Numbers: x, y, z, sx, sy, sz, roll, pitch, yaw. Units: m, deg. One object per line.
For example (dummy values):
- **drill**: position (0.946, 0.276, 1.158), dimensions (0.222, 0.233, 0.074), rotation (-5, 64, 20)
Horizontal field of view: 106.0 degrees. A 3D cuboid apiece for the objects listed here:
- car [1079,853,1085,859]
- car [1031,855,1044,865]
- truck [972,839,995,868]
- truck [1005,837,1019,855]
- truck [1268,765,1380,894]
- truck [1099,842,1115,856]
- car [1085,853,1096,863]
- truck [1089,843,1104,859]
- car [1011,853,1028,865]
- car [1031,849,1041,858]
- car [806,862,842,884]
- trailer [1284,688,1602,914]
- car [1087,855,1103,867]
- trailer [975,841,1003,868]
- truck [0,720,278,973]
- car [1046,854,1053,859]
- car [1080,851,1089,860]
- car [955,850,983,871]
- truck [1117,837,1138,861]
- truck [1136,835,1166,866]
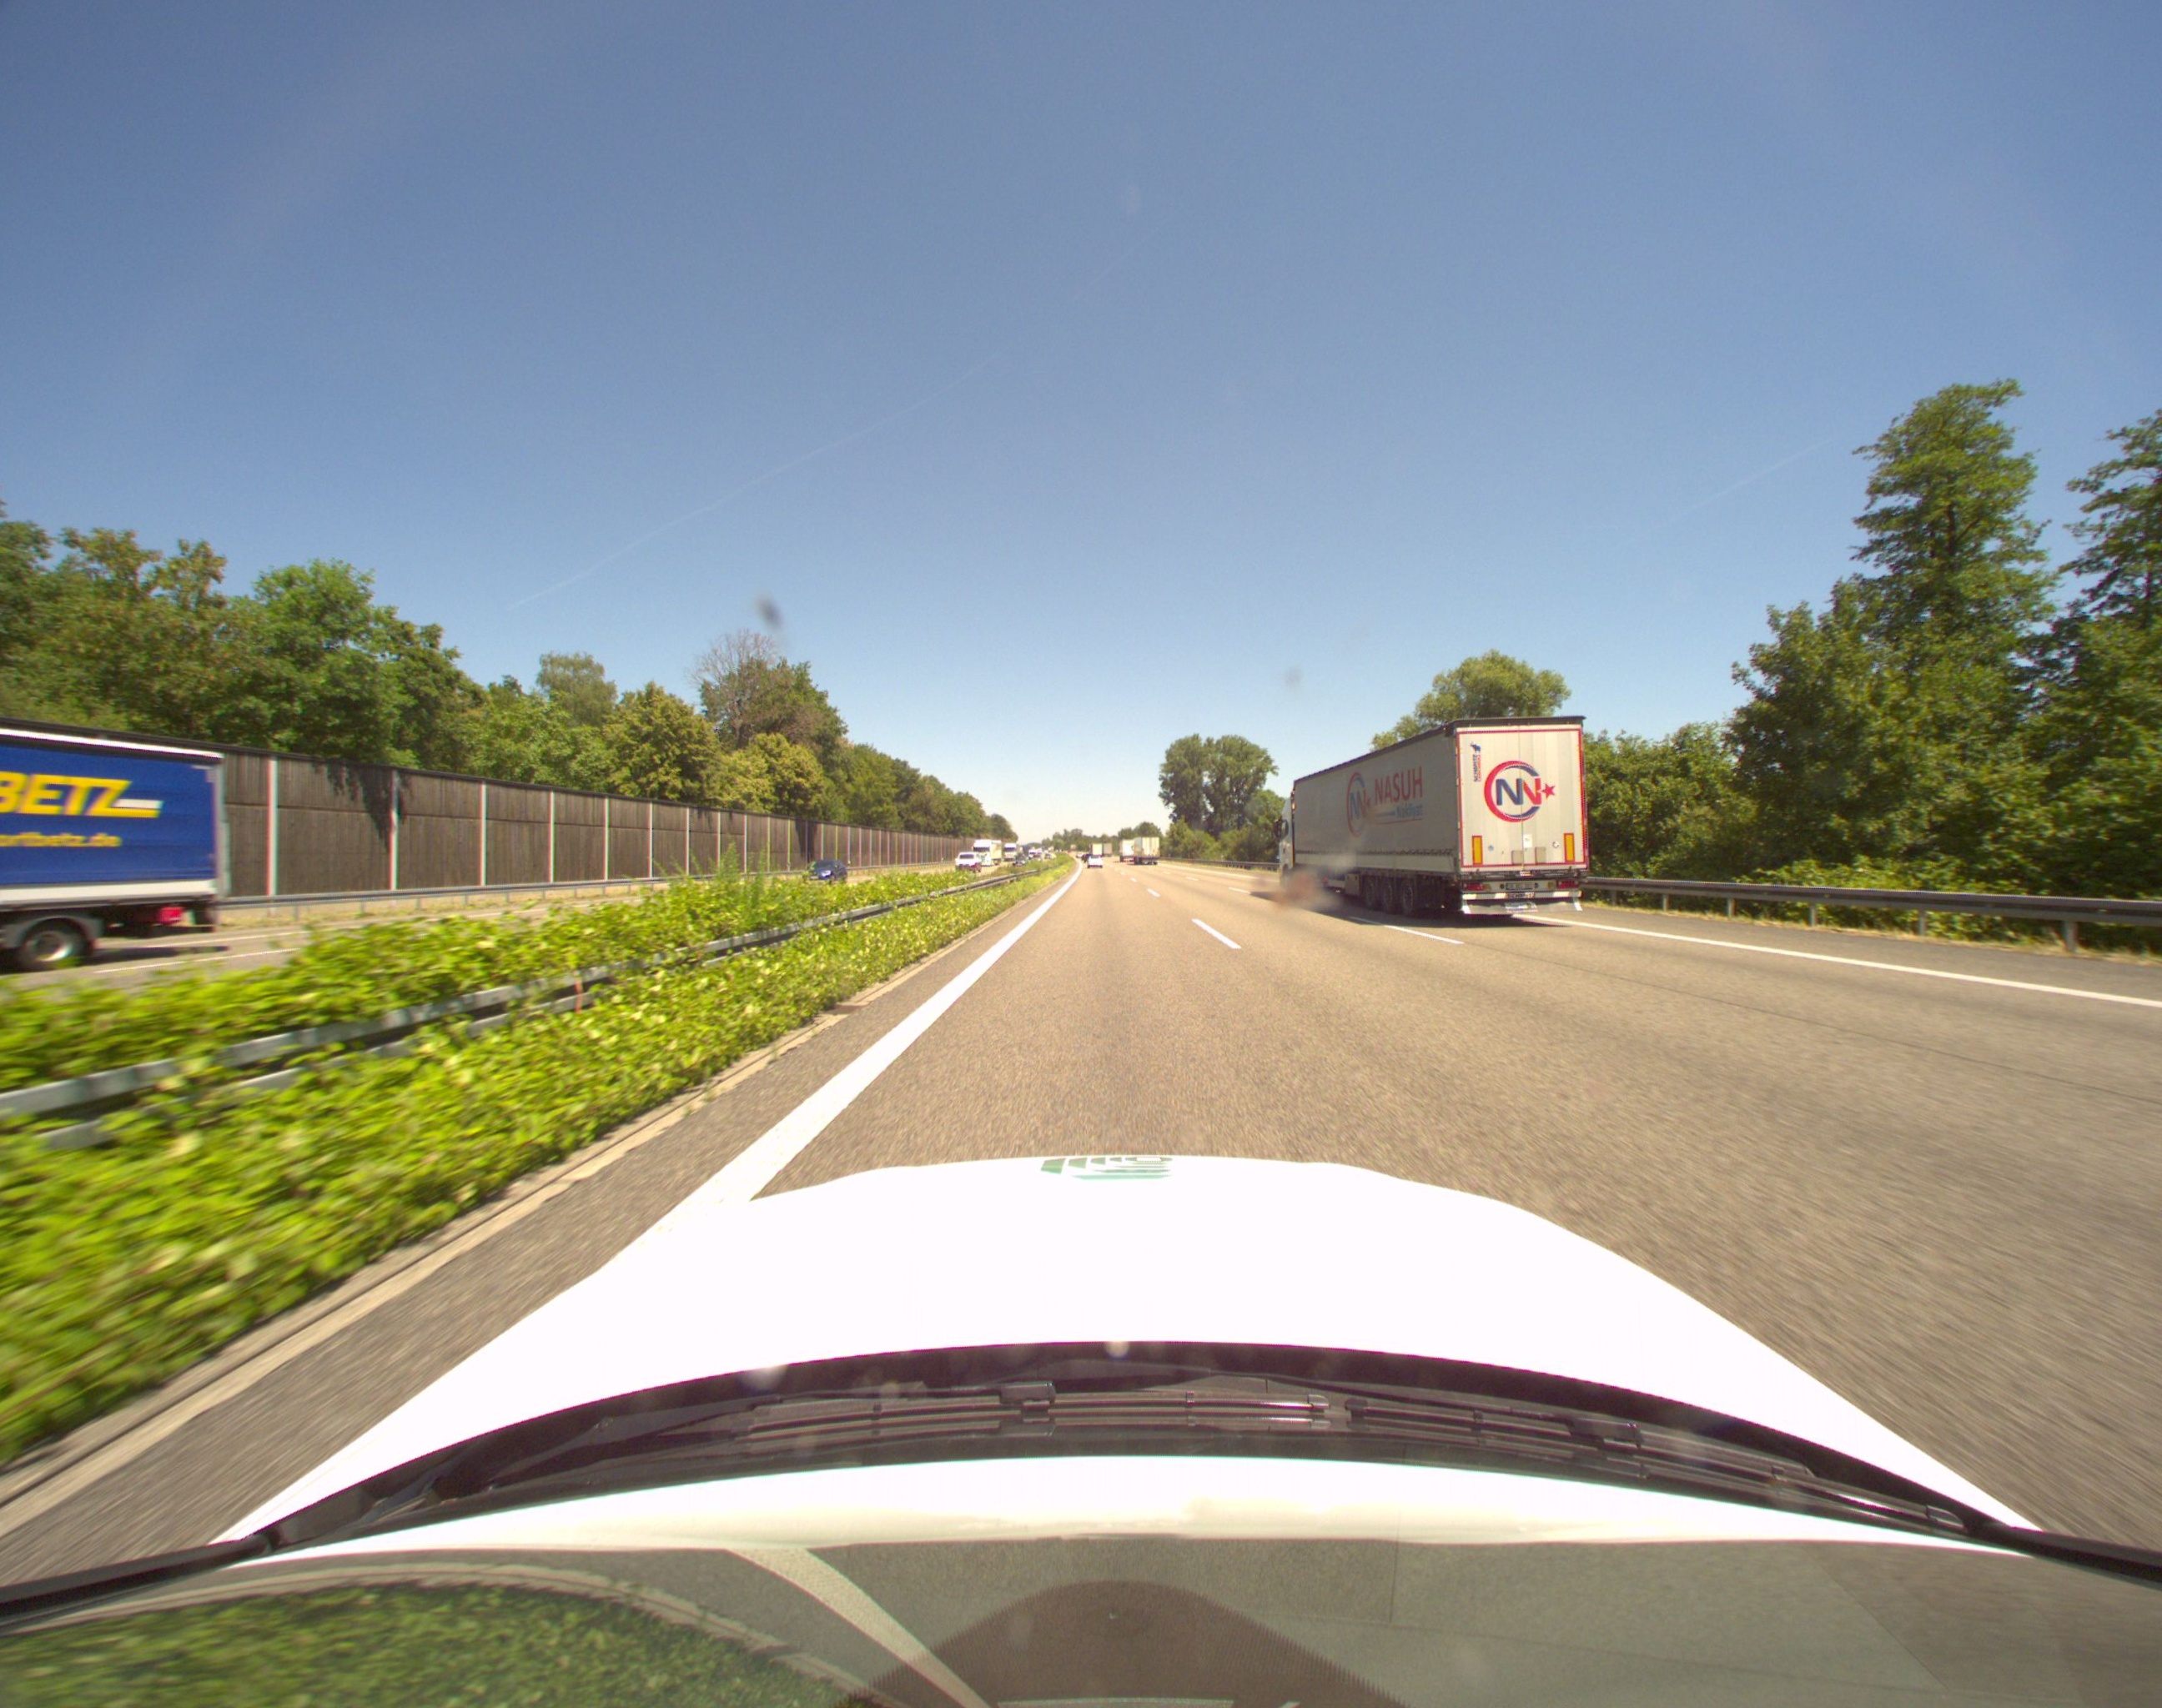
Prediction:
- **car**: position (0.253, 0.530, 226.608), dimensions (1.718, 1.783, 4.000), rotation (-1, 0, 0)
- **car**: position (-7.189, 1.024, 134.488), dimensions (1.760, 1.651, 4.039), rotation (-1, 0, 1)
- **truck**: position (-14.694, -0.045, 122.856), dimensions (2.721, 4.192, 6.036), rotation (-1, 0, 0)
- **truck**: position (-15.703, -1.734, 184.563), dimensions (2.493, 4.055, 6.362), rotation (-1, 0, 0)
- **truck**: position (8.748, -0.805, 29.944), dimensions (2.596, 4.287, 5.438), rotation (-1, 0, 2)
- **truck**: position (7.927, -1.483, 251.244), dimensions (3.821, 4.311, 11.542), rotation (-1, 0, -3)
- **car**: position (1.776, 0.683, 151.150), dimensions (1.987, 1.772, 3.999), rotation (-1, 0, 0)
- **truck**: position (4.339, -0.887, 228.985), dimensions (3.569, 4.311, 12.184), rotation (-1, 0, -1)
- **car**: position (-7.652, 0.608, 101.773), dimensions (1.707, 1.543, 4.361), rotation (-1, 0, 0)
- **car**: position (-11.353, -0.143, 207.197), dimensions (2.073, 2.401, 6.042), rotation (-1, 0, 0)
- **car**: position (-15.817, 1.163, 50.258), dimensions (1.275, 1.255, 3.028), rotation (-1, 0, -1)
- **trailer**: position (8.628, -0.976, 22.502), dimensions (2.615, 4.261, 14.060), rotation (-1, 0, 1)
- **car**: position (1.724, 0.868, 98.448), dimensions (1.708, 1.369, 3.378), rotation (-1, 0, 3)
- **trailer**: position (-14.628, 0.048, 130.821), dimensions (2.745, 4.074, 14.388), rotation (-1, 0, 0)
- **truck**: position (-16.862, -0.088, 11.207), dimensions (2.823, 3.609, 8.746), rotation (-1, 0, 1)
- **car**: position (-8.190, 0.690, 213.807), dimensions (1.754, 1.428, 3.935), rotation (-1, 0, 0)
- **car**: position (0.720, 0.288, 180.493), dimensions (1.987, 2.013, 4.000), rotation (-1, 0, 0)
- **car**: position (-10.713, 0.611, 77.931), dimensions (1.919, 1.945, 4.610), rotation (-1, 0, 1)
- **truck**: position (8.513, -0.813, 150.912), dimensions (3.348, 4.311, 10.830), rotation (-1, 0, 1)
- **truck**: position (10.049, -0.481, 118.254), dimensions (3.480, 4.311, 10.990), rotation (-1, 0, 1)
